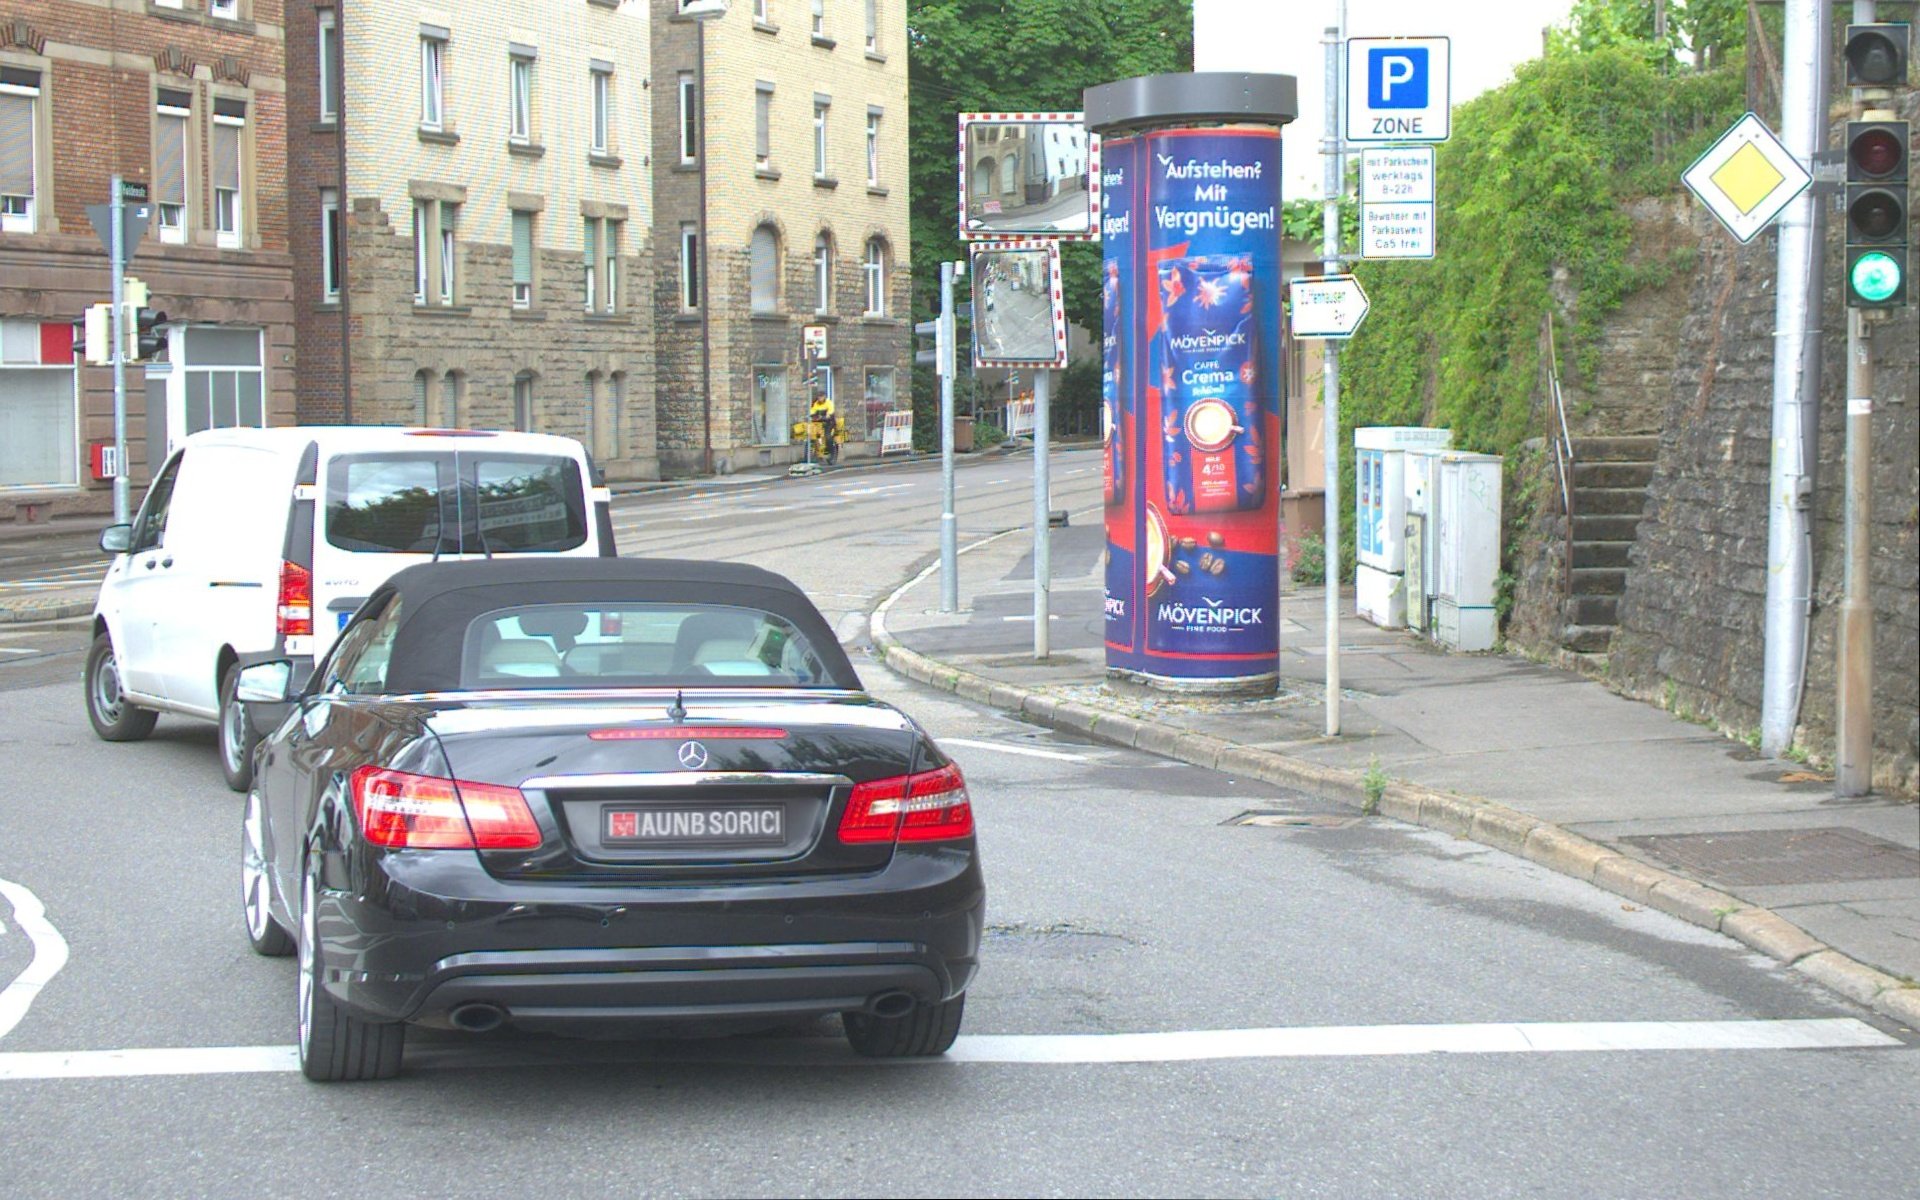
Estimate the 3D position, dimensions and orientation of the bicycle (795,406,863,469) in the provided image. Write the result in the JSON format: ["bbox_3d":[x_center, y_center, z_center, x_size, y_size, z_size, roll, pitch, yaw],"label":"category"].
[{"bbox_3d":[-2.873,-3.593,75.813,0.632,1.302,2.597,-3,3,16],"label":"bicycle"}]

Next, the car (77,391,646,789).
[{"bbox_3d":[-3.471,-0.090,19.140,1.891,1.922,4.646,-1,1,-26],"label":"car"}]

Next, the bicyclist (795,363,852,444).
[{"bbox_3d":[-2.995,-4.311,75.494,0.944,1.696,0.785,-3,3,16],"label":"bicyclist"}]

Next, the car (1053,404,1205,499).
[{"bbox_3d":[3.383,-2.960,68.003,1.951,1.712,3.997,-2,3,18],"label":"car"}]

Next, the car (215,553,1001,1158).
[{"bbox_3d":[-1.294,0.576,10.504,1.761,1.404,4.400,-1,1,-14],"label":"car"}]

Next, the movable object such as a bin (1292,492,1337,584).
[{"bbox_3d":[3.524,-0.618,34.189,0.343,0.908,0.495,0,1,-6],"label":"movable object such as a bin"}]
